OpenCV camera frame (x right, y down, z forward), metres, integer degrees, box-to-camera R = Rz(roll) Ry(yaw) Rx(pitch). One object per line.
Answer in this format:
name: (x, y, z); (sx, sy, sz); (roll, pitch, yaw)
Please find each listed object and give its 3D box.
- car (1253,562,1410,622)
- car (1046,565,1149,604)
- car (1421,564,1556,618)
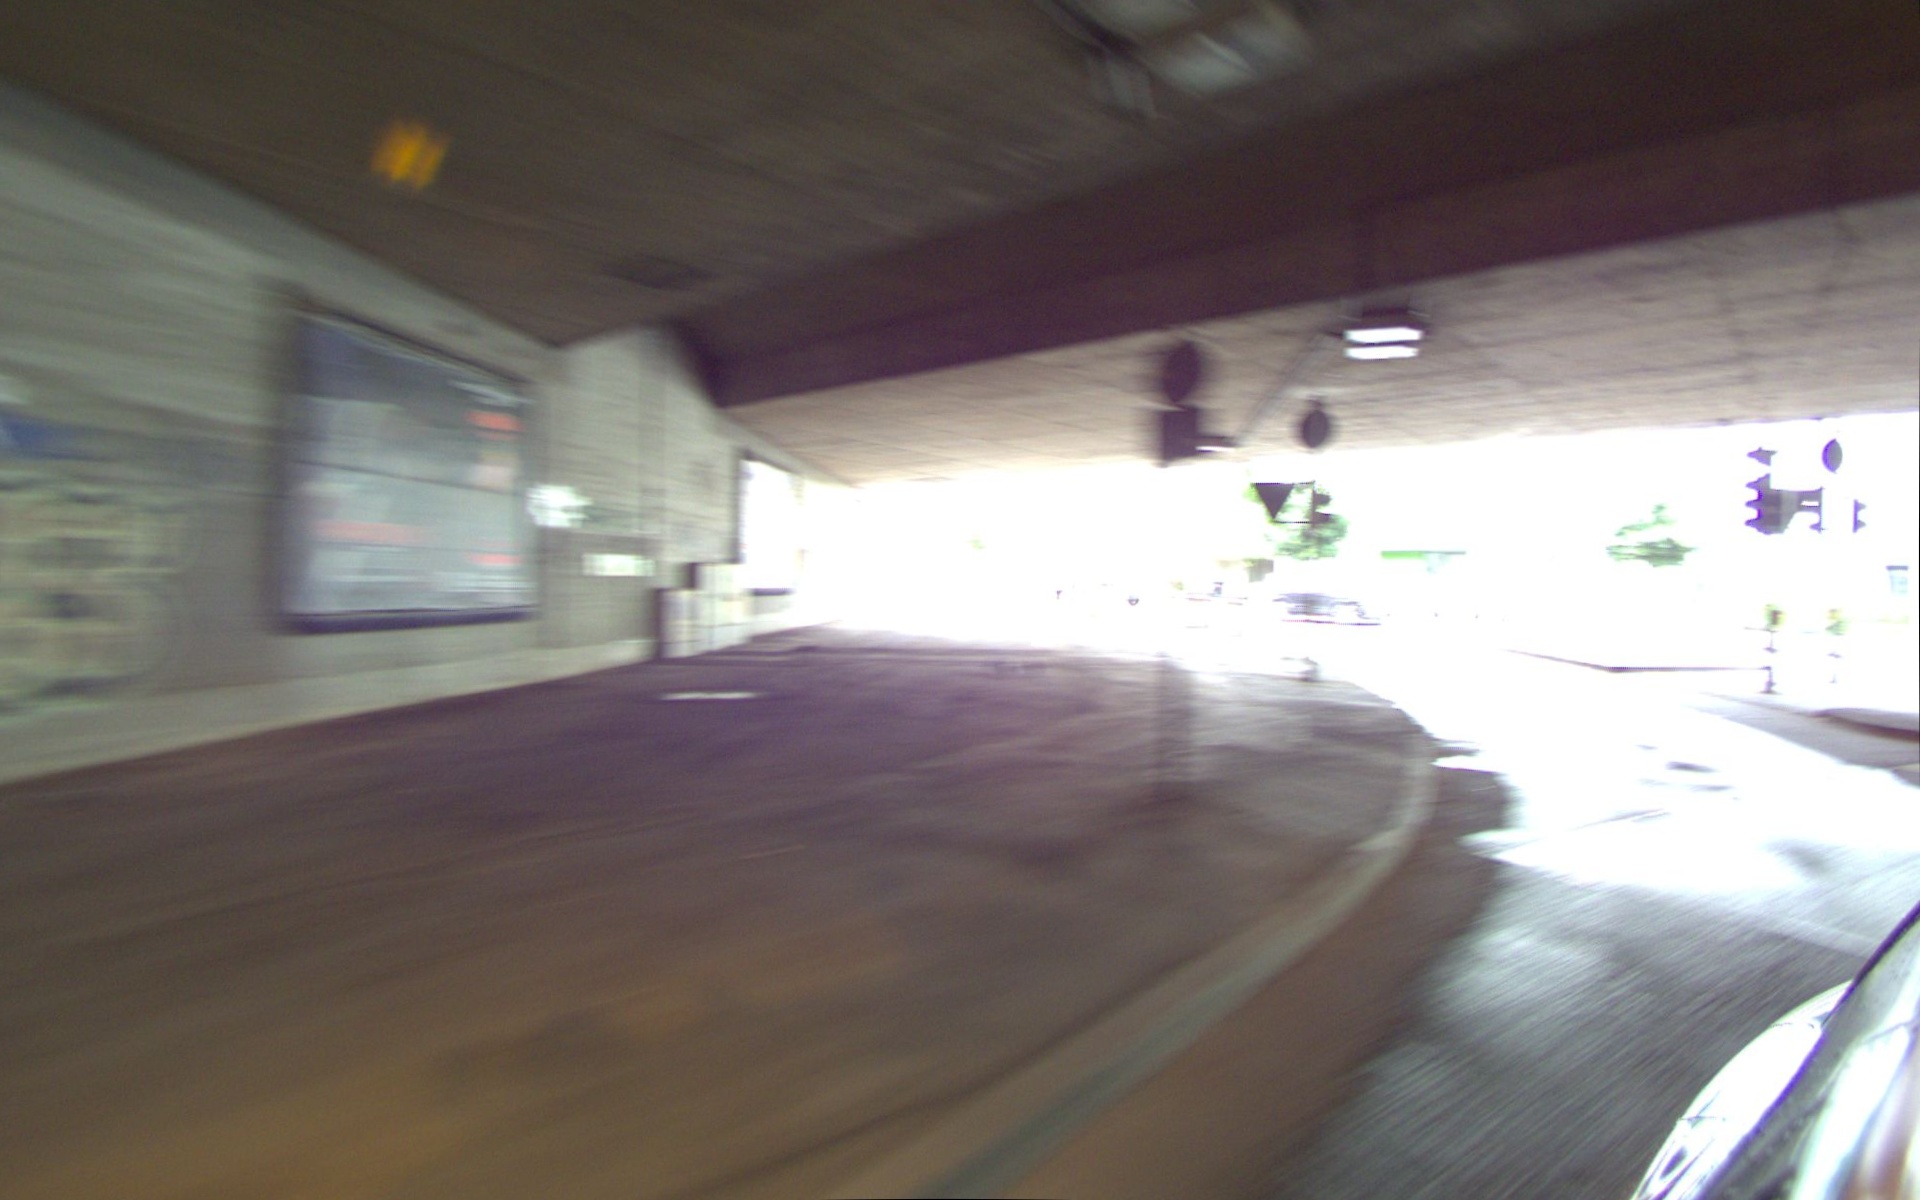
car: (11.116, -0.302, 30.524); (1.736, 1.599, 4.235); (-3, 4, -35)
car: (5.777, -0.665, 42.725); (3.969, 1.476, 1.627); (3, 0, 31)
car: (17.208, -0.312, 33.022); (3.611, 1.577, 1.622); (3, 1, 39)
